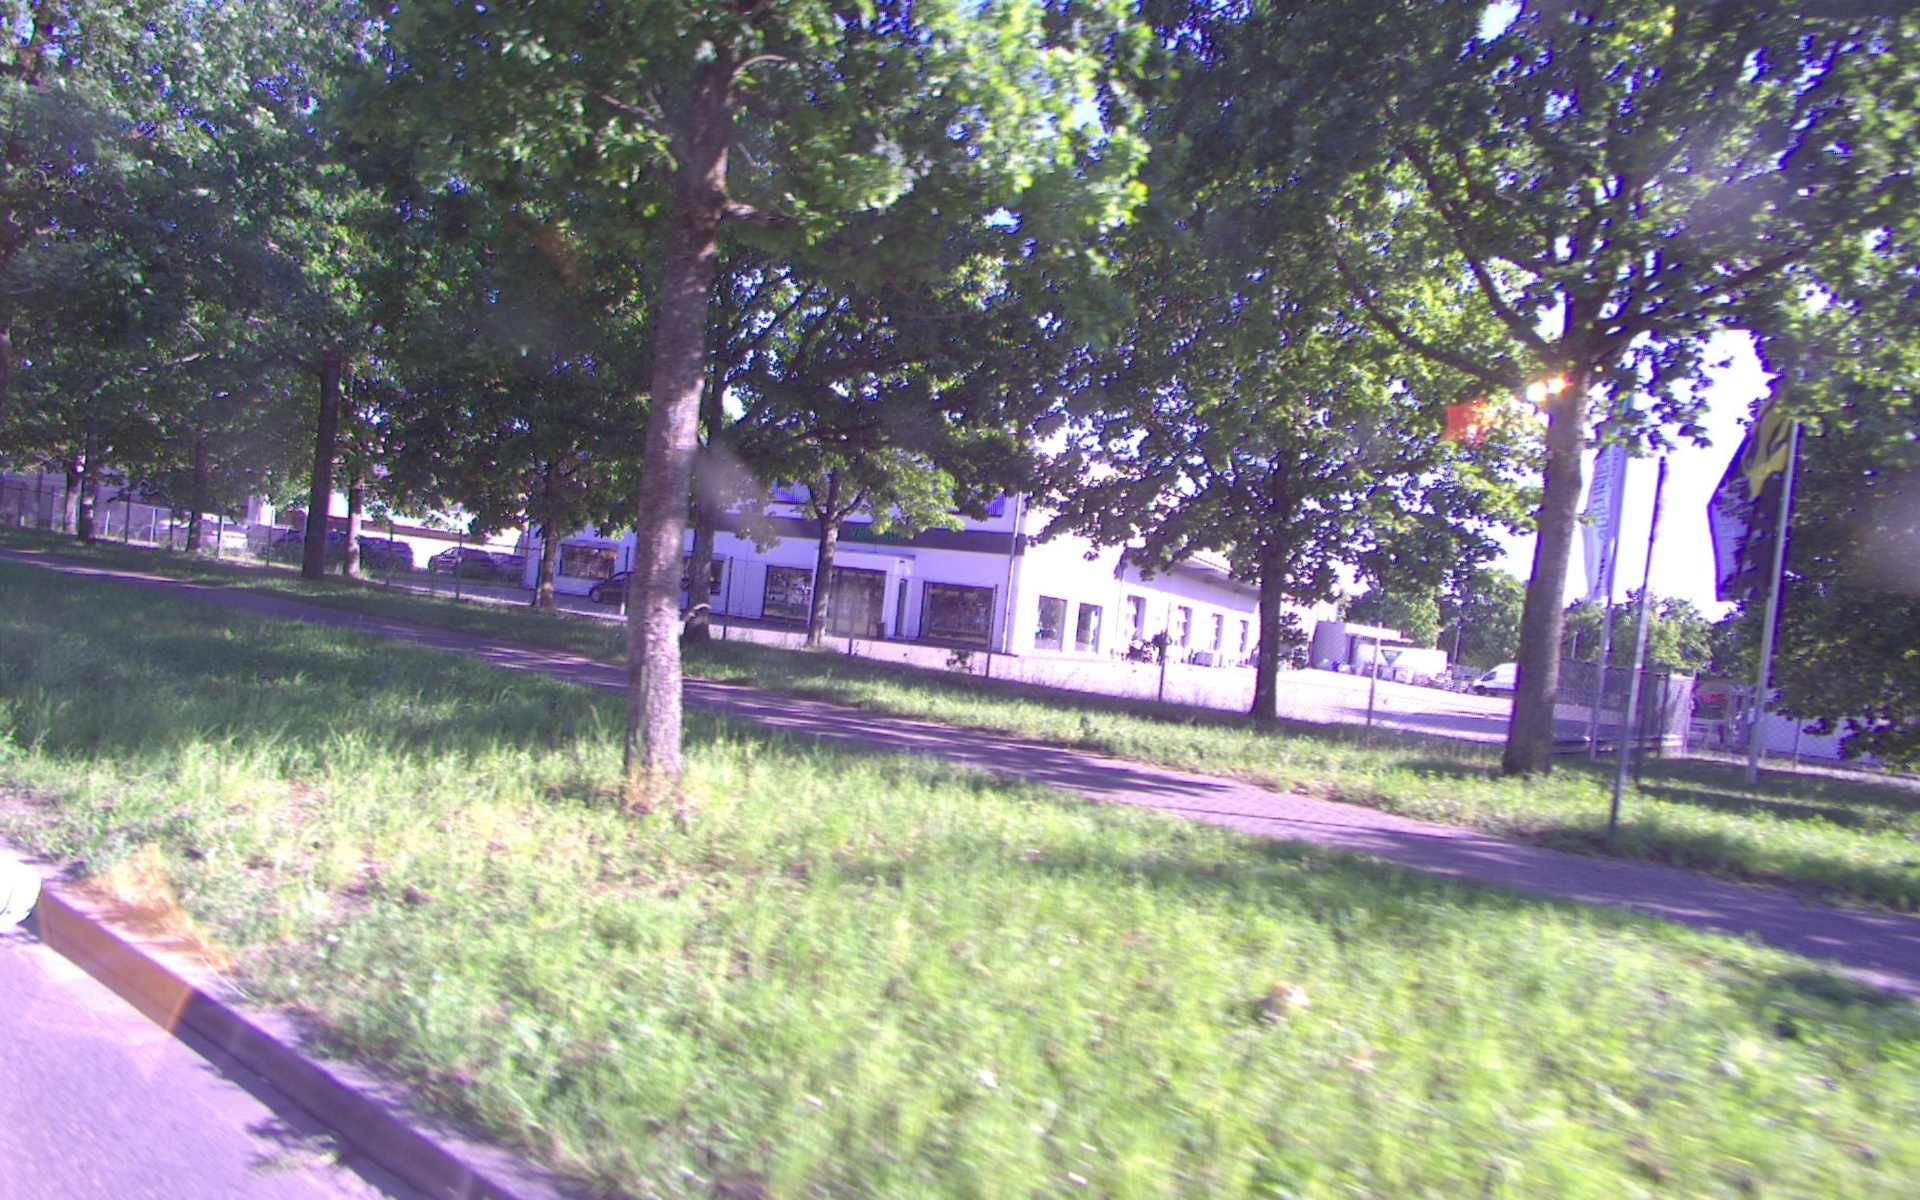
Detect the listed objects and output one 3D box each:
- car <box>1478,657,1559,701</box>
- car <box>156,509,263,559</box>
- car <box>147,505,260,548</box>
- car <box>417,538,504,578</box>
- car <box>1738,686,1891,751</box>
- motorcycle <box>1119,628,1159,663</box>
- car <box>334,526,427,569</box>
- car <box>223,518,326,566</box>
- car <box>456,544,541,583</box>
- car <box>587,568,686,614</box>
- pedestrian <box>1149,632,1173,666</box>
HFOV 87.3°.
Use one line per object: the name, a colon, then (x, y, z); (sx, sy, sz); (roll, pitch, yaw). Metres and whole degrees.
car: (43.094, 6.087, 77.758); (2.143, 2.732, 4.814); (6, 0, -29)
car: (-34.921, -3.067, 46.780); (4.561, 1.766, 2.188); (7, 0, 29)
car: (-43.390, -4.203, 57.836); (2.152, 1.766, 4.638); (7, 0, 24)
car: (-28.909, -2.434, 58.165); (4.561, 1.766, 2.188); (7, 0, 29)
car: (36.237, 4.989, 42.737); (1.988, 2.011, 4.675); (6, 0, -45)
motorcycle: (8.182, 2.083, 45.980); (1.979, 1.450, 0.649); (7, 0, -44)
car: (-31.148, -2.812, 54.071); (4.561, 1.766, 2.188); (7, 0, 29)
car: (-33.315, -2.797, 48.875); (4.561, 1.766, 2.188); (7, 0, 29)
car: (-27.631, -2.187, 60.239); (4.561, 1.766, 2.188); (7, 0, 29)
car: (-13.421, -0.379, 41.703); (3.702, 1.401, 1.768); (7, 0, 28)
pedestrian: (9.128, 2.233, 45.675); (0.708, 1.451, 0.748); (7, 1, 30)
